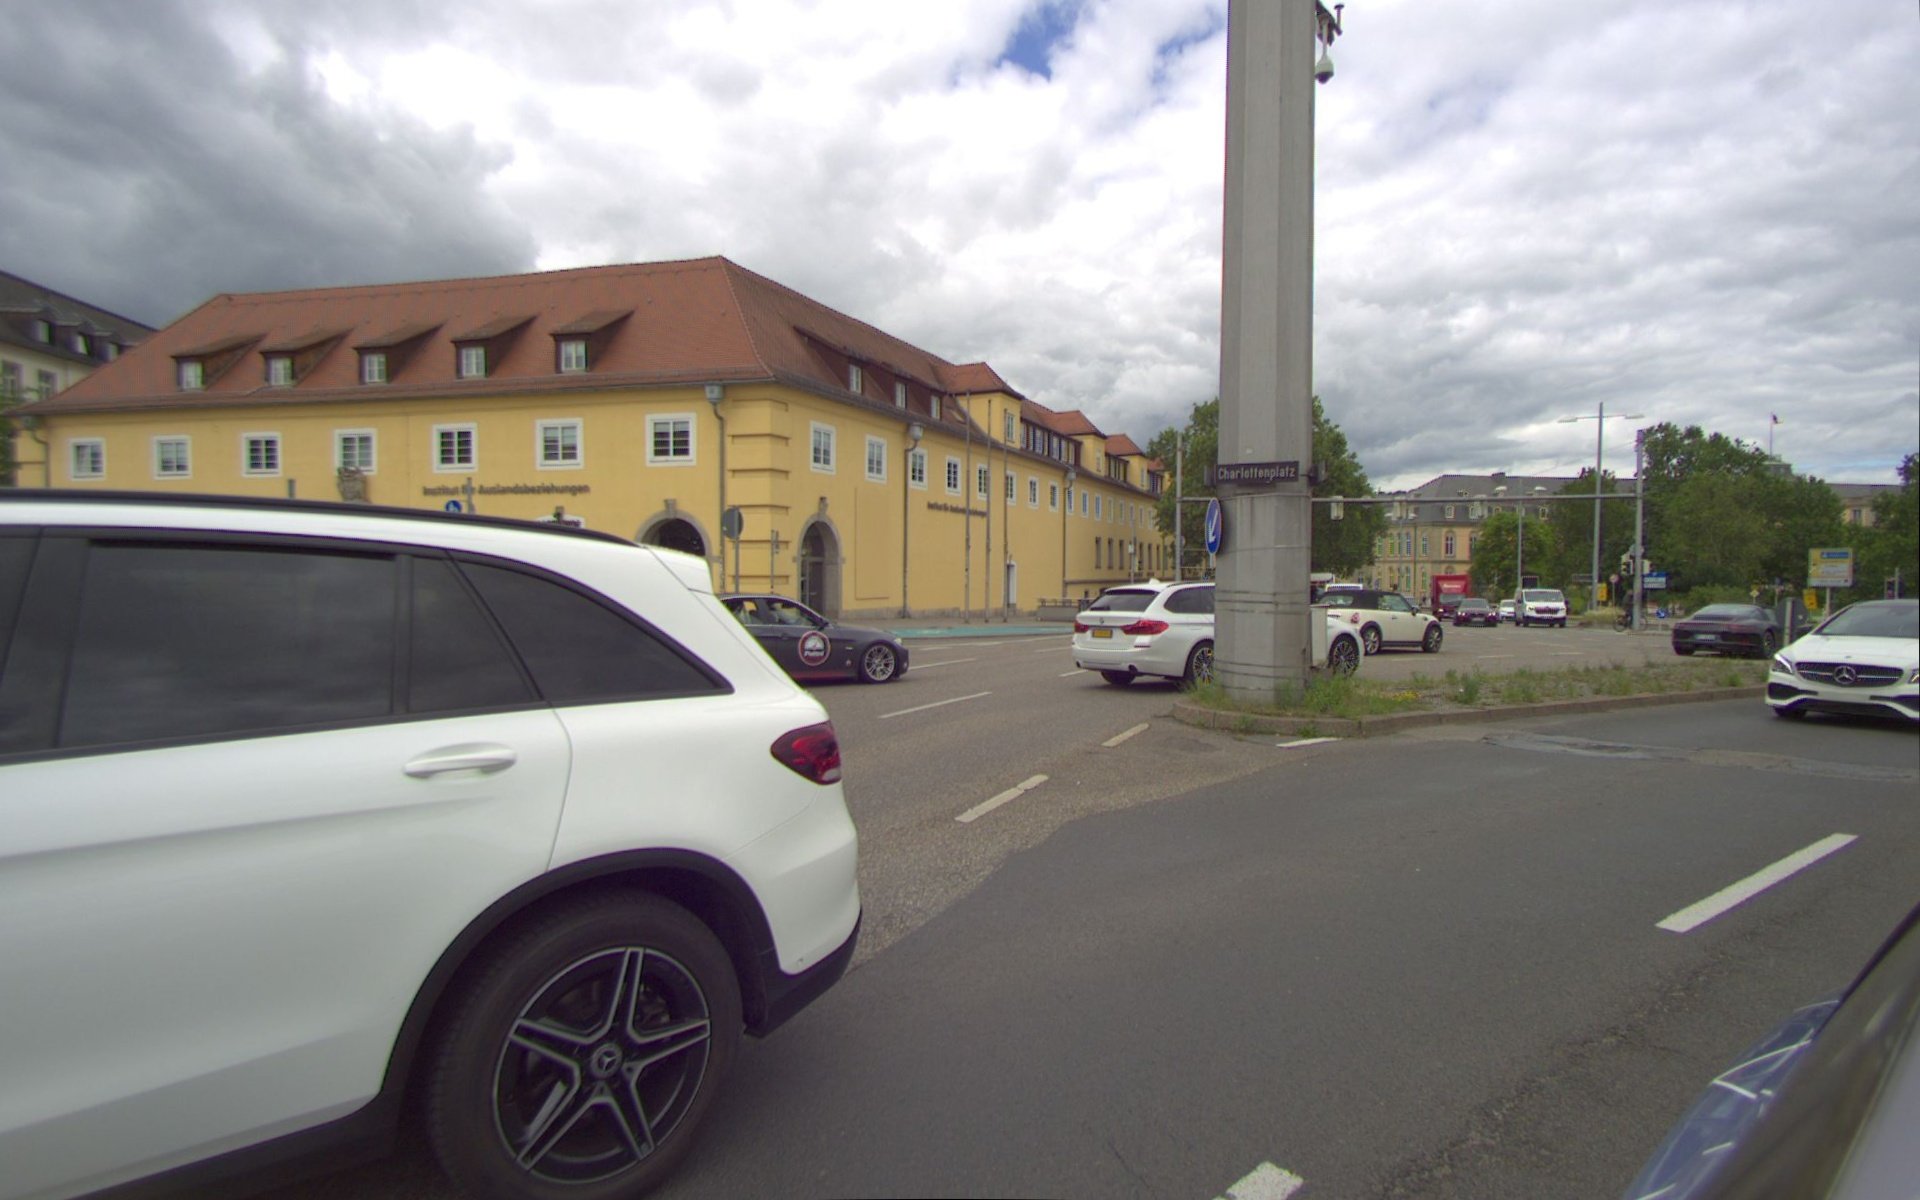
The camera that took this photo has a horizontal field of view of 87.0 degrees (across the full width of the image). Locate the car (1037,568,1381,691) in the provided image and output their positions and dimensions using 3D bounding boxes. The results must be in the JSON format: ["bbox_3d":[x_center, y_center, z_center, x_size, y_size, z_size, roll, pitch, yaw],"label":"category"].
[{"bbox_3d":[3.703,0.318,14.689,4.942,1.523,2.001,-1,1,-33],"label":"car"}]

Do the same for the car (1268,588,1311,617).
[{"bbox_3d":[17.604,0.099,54.006,1.809,1.426,3.968,1,1,23],"label":"car"}]

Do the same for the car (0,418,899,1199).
[{"bbox_3d":[-2.389,0.519,2.074,4.255,1.667,1.806,1,1,-39],"label":"car"}]

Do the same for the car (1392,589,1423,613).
[{"bbox_3d":[27.077,0.042,61.297,1.587,1.395,3.969,1,1,23],"label":"car"}]

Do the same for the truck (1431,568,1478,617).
[{"bbox_3d":[38.204,-0.609,78.410,2.761,3.533,8.284,1,1,23],"label":"truck"}]

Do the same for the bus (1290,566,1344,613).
[{"bbox_3d":[27.218,-0.796,76.756,3.395,3.243,12.969,1,1,21],"label":"bus"}]

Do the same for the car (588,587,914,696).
[{"bbox_3d":[-2.985,0.516,14.786,4.327,1.350,1.759,-1,0,-33],"label":"car"}]

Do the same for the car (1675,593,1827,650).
[{"bbox_3d":[19.032,0.494,24.309,3.978,1.280,1.677,1,0,-33],"label":"car"}]

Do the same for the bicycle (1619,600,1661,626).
[{"bbox_3d":[29.903,0.571,44.495,1.692,1.086,0.506,1,0,-15],"label":"bicycle"}]

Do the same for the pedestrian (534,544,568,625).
[{"bbox_3d":[-9.774,-0.369,24.195,0.626,1.919,0.559,1,0,-8],"label":"pedestrian"}]

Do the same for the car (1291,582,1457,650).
[{"bbox_3d":[9.393,0.339,22.896,3.576,1.436,1.730,1,0,-32],"label":"car"}]

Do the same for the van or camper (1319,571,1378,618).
[{"bbox_3d":[20.711,-0.296,53.780,2.352,2.291,6.230,1,1,26],"label":"van or camper"}]

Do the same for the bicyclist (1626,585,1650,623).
[{"bbox_3d":[29.778,0.167,44.465,0.706,1.660,0.506,1,0,-14],"label":"bicyclist"}]

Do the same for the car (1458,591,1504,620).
[{"bbox_3d":[26.579,0.254,51.736,1.720,1.417,3.684,1,1,22],"label":"car"}]

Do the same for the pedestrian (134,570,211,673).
[{"bbox_3d":[-14.149,0.375,18.191,0.814,1.811,0.750,0,0,10],"label":"pedestrian"}]

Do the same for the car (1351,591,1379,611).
[{"bbox_3d":[26.753,0.040,66.793,1.606,1.251,3.211,1,1,25],"label":"car"}]

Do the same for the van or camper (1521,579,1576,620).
[{"bbox_3d":[30.039,-0.065,51.768,1.846,1.940,4.676,1,1,24],"label":"van or camper"}]

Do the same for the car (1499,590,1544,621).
[{"bbox_3d":[34.027,0.288,61.405,1.978,1.776,3.928,1,1,24],"label":"car"}]

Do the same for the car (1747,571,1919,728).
[{"bbox_3d":[11.390,0.488,11.876,4.559,1.589,1.873,0,1,-31],"label":"car"}]
